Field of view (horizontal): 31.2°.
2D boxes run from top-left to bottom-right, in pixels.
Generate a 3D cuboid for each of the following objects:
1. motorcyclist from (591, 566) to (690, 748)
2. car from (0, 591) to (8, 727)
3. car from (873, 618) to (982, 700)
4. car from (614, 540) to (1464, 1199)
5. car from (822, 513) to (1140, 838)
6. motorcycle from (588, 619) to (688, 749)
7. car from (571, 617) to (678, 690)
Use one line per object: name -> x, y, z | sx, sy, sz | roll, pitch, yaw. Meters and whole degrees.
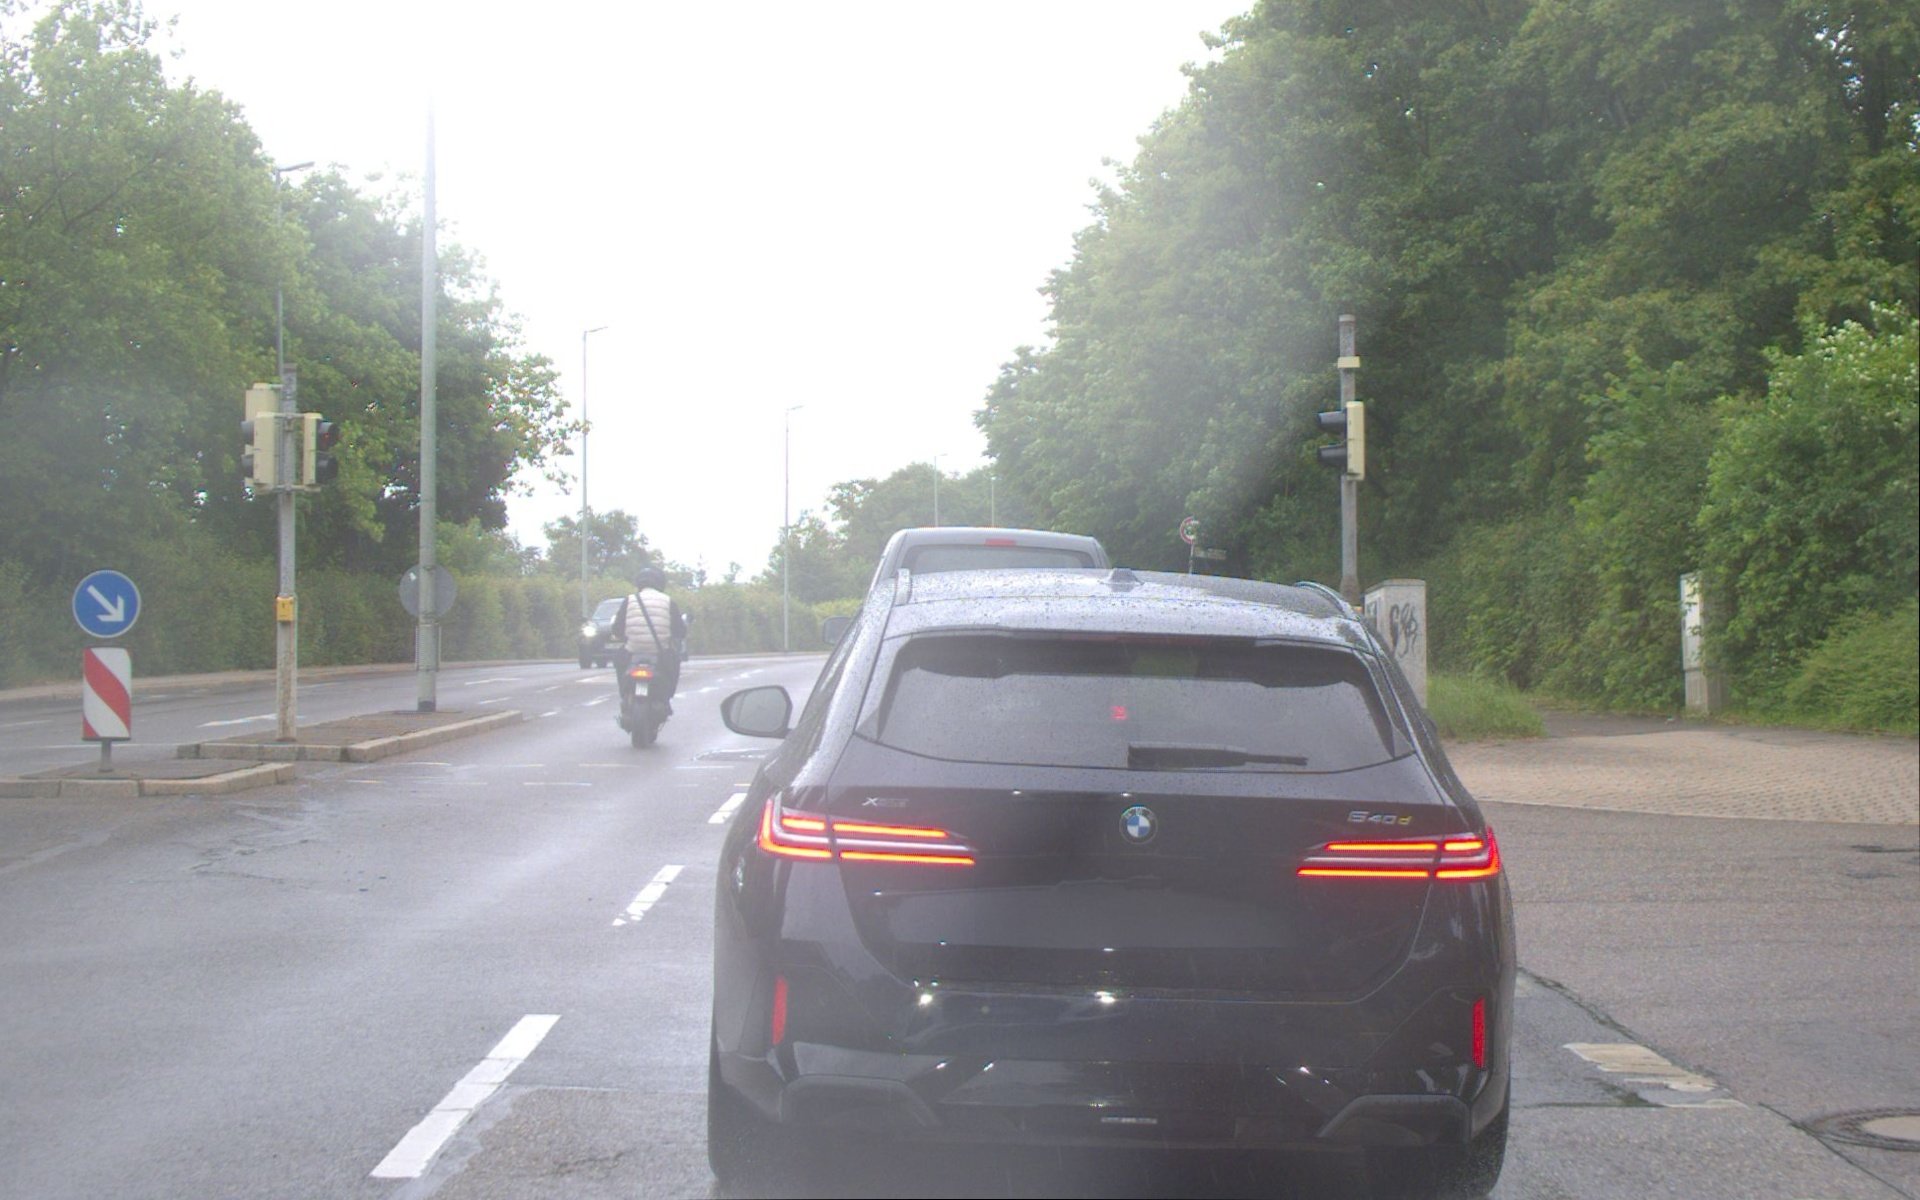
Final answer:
motorcyclist -> -2.906, 0.515, 31.348 | 0.845, 1.641, 0.468 | 0, 1, 1
car -> -11.370, 0.689, 35.800 | 1.727, 1.480, 4.157 | -2, 1, 0
car -> -0.610, 1.132, 67.683 | 2.015, 1.410, 4.486 | 1, 1, 1
car -> 0.185, 0.638, 9.067 | 1.764, 1.531, 3.673 | 1, 0, 1
car -> 0.143, 0.391, 21.385 | 1.767, 1.804, 3.905 | 1, 1, 1
motorcycle -> -2.924, 0.753, 31.300 | 0.741, 1.116, 1.426 | 1, 1, 1
car -> -7.568, 1.201, 77.893 | 2.025, 1.558, 3.877 | -1, 0, 0
